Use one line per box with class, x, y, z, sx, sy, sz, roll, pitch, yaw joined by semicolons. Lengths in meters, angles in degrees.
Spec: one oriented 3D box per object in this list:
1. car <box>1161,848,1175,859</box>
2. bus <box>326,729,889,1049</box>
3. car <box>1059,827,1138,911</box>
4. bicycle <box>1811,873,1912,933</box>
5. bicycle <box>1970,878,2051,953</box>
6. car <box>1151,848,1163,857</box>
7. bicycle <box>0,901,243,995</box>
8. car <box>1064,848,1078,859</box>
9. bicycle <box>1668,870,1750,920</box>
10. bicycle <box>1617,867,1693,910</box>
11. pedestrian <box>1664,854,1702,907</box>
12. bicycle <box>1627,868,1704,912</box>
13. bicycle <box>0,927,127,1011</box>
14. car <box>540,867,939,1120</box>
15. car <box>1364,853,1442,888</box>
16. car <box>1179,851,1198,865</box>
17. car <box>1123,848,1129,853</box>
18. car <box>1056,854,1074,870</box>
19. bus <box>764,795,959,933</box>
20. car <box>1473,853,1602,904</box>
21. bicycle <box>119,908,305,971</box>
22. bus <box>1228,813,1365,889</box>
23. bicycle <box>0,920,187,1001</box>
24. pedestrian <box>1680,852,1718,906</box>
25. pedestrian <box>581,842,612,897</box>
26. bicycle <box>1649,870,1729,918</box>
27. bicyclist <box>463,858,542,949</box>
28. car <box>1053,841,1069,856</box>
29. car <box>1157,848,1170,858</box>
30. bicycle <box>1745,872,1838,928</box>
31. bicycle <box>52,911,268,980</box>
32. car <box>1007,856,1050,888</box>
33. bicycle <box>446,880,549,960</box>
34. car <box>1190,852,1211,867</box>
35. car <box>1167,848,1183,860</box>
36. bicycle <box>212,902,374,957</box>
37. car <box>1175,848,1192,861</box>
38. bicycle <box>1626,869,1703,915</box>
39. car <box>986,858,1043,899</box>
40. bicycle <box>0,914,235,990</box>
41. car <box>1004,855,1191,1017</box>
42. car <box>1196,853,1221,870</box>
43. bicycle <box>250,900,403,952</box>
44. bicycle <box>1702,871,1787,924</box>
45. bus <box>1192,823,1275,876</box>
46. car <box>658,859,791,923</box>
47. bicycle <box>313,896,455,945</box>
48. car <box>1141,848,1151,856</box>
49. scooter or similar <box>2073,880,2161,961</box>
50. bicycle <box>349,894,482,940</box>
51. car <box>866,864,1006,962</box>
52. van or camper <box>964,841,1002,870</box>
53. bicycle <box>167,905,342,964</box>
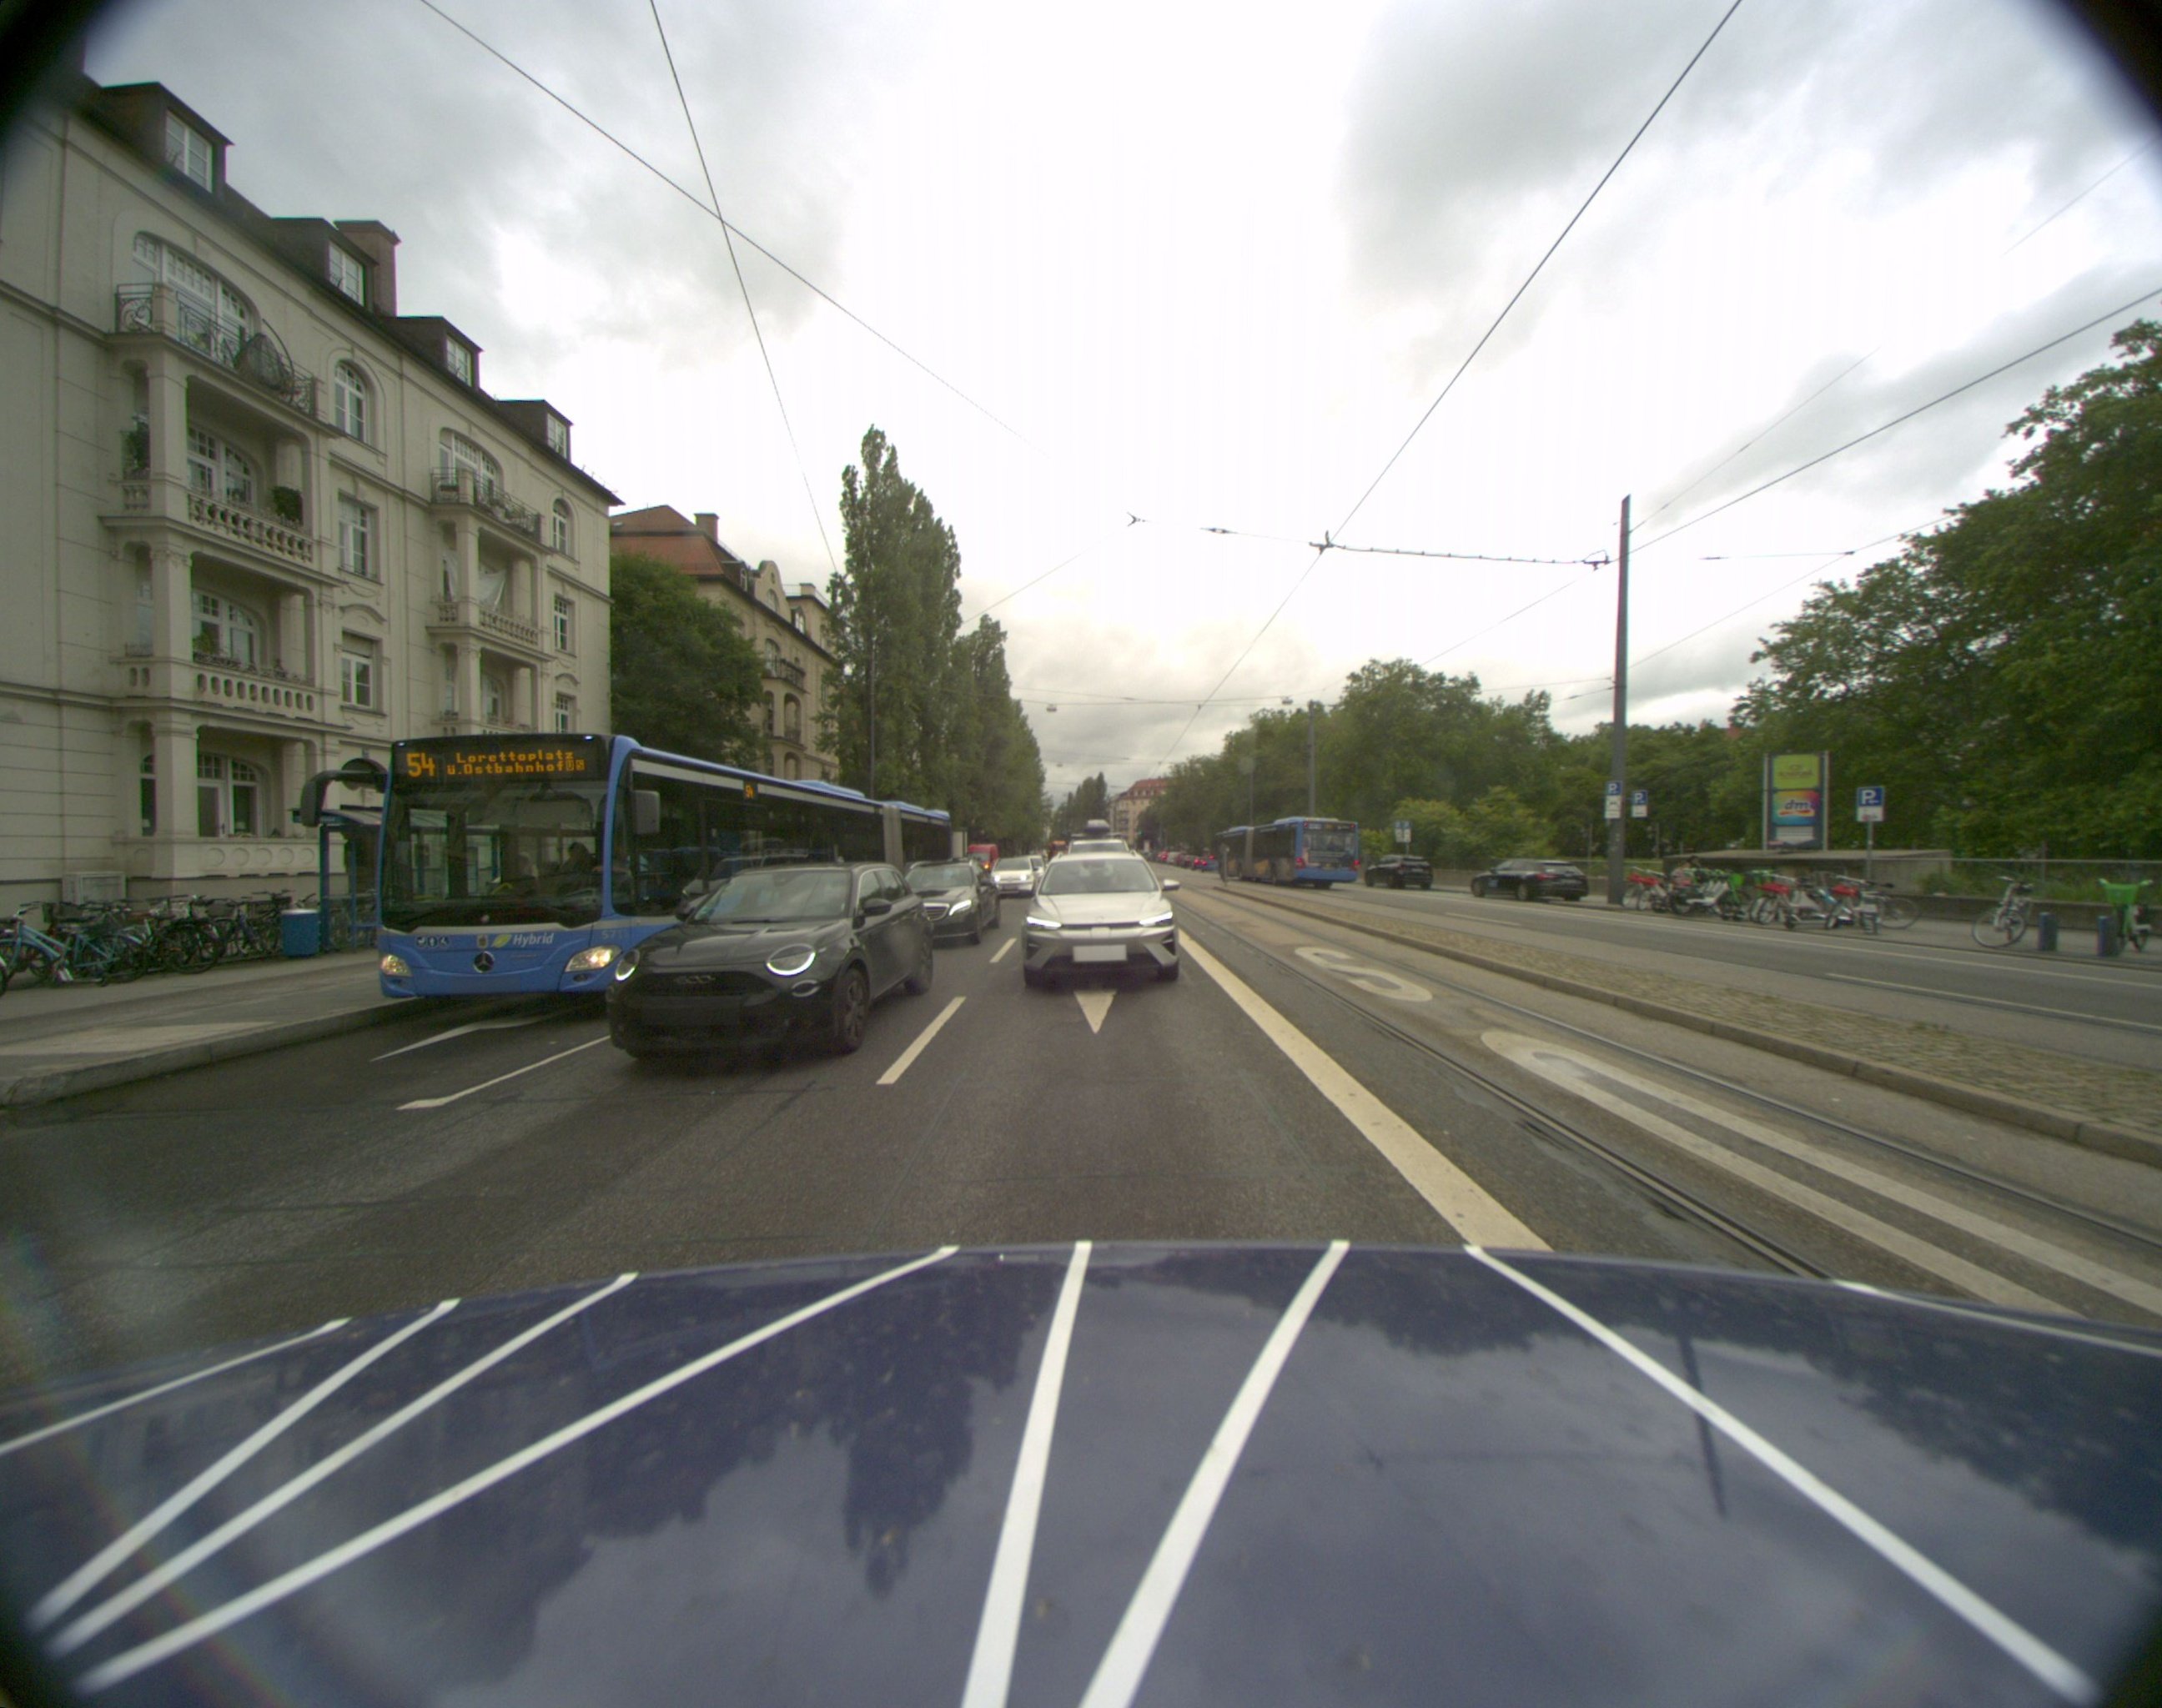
car;13.789;-0.126;121.069;1.809;1.674;4.000;0;1;1
bus;-5.699;0.299;11.956;2.637;2.957;9.465;-2;1;1
car;0.469;0.362;21.203;1.998;2.100;4.000;0;1;1
bicycle;15.999;0.996;15.584;1.693;1.165;0.561;0;1;-9
bicycle;15.976;1.027;13.052;1.696;1.165;0.560;-1;1;-28
car;13.497;-0.280;135.603;1.809;1.674;4.000;0;1;1
bicycle;-14.153;1.333;10.900;2.922;1.142;0.639;-2;1;-17
car;-1.341;-0.053;102.139;1.704;1.513;3.632;0;1;0
bicycle;15.296;0.990;18.512;1.693;1.165;0.561;0;1;-9
bicycle;15.811;0.943;20.956;1.692;1.165;0.562;0;1;-2
pedestrian;17.700;0.771;22.349;0.632;1.549;0.589;1;1;0
bicycle;15.673;0.955;20.387;1.692;1.165;0.505;0;1;-3
bicycle;-13.618;1.457;9.394;2.326;0.916;0.586;-2;1;-16
car;-2.633;0.964;7.022;1.780;1.495;3.970;-3;1;1
car;15.196;0.733;36.057;1.998;1.561;4.101;0;1;1
car;13.106;0.485;92.495;1.809;1.633;4.000;0;1;1
car;11.866;-0.968;200.119;1.628;1.474;3.602;0;1;1
car;-1.582;0.815;75.209;1.704;1.513;3.632;1;0;0
bus;-5.507;0.187;21.000;2.637;2.957;8.533;-2;1;1
car;15.407;0.767;25.930;1.864;1.517;4.232;1;1;1
bicycle;-14.765;1.446;12.953;2.323;0.916;0.640;-1;1;-2
bus;9.781;-0.183;36.655;2.632;2.950;13.413;1;1;-1
bicycle;-13.843;1.441;10.257;2.326;0.916;0.586;-2;1;-16
pedestrian;18.332;0.735;22.549;0.632;1.549;0.589;1;1;0
pedestrian;-16.982;0.530;26.640;0.609;1.885;0.673;0;1;3
bicycle;15.272;0.985;19.097;1.693;1.165;0.505;0;1;-7
bicyclist;-10.518;0.877;13.836;0.681;1.594;0.939;0;1;1
car;-3.812;-1.070;144.336;2.806;2.836;5.114;0;1;1
car;13.768;-0.198;127.466;1.809;1.674;4.000;0;1;1
bicycle;15.659;0.996;16.753;1.693;1.165;0.561;0;1;-9
bicycle;-14.731;1.453;12.212;2.325;0.916;0.586;-2;1;-11
car;-2.354;0.790;34.938;1.704;1.379;3.632;1;0;0
bicycle;-10.538;1.153;13.794;0.424;1.281;1.778;0;1;2
car;13.119;0.585;83.596;1.809;1.633;4.000;0;1;1
car;13.884;-0.031;112.391;1.809;1.674;4.000;0;1;1
bicycle;-15.008;1.438;14.513;2.323;0.916;0.640;-1;1;-2
car;13.743;0.093;101.687;1.809;1.674;4.000;0;1;1
bicycle;15.202;0.980;19.795;1.693;1.165;0.505;0;1;-6
car;-2.366;0.858;27.819;1.704;1.360;3.632;1;0;0
bicycle;-14.501;1.453;11.467;2.326;0.916;0.586;-2;1;-16
car;0.240;0.820;9.992;1.812;1.496;4.952;-2;1;2
car;12.465;0.715;74.382;1.809;1.633;4.000;0;1;1
bicycle;-15.100;1.433;15.234;2.323;0.916;0.640;-1;1;-2
bicycle;15.340;0.999;17.580;1.693;1.165;0.505;0;1;-9
bus;9.662;-0.328;49.796;2.632;2.950;12.843;1;1;-1
car;-9.232;0.908;20.008;1.730;1.465;3.742;0;1;0
bicycle;-14.781;1.410;16.152;2.323;0.916;0.640;-1;1;-2
car;13.169;-0.483;154.735;1.809;1.674;4.000;0;1;1
scooter or similar;16.539;1.018;11.961;1.695;1.165;0.561;0;1;-18
bicycle;-14.887;1.404;17.027;2.323;0.916;0.640;-1;1;-2
car;-2.549;0.977;14.348;1.704;1.425;4.244;-3;1;1
van or camper;-7.190;0.094;56.545;2.124;2.087;5.513;0;1;0
bicycle;-14.820;1.440;13.662;2.323;0.916;0.640;-1;1;-2
